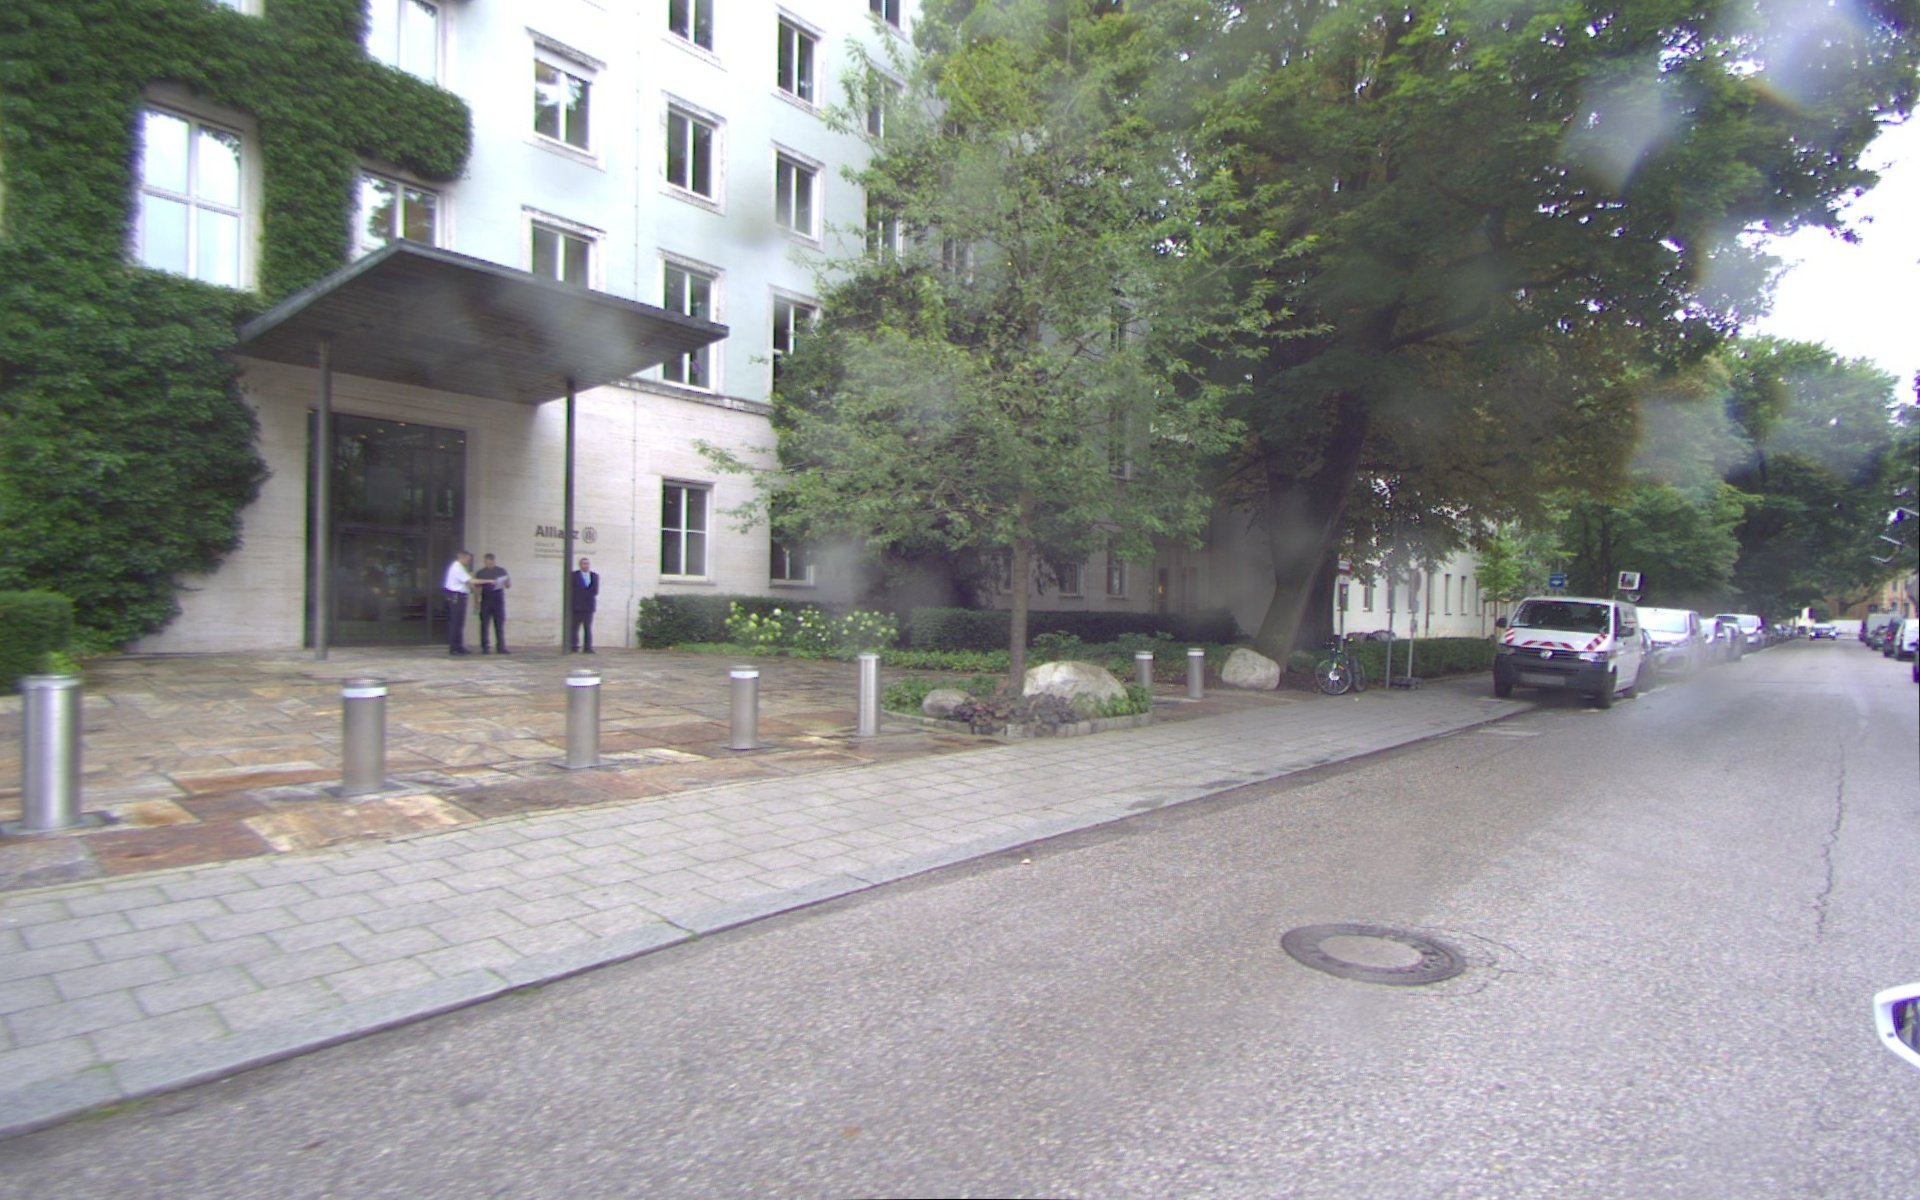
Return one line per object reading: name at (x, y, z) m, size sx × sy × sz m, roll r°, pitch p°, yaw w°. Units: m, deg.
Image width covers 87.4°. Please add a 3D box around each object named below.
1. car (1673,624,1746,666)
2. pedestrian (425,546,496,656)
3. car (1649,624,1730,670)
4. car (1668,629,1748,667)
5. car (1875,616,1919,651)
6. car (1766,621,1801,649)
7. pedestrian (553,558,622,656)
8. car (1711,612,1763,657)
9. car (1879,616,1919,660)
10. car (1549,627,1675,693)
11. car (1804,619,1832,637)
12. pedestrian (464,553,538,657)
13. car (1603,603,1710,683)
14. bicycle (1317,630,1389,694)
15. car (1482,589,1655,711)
car at (30.300, 1.791, 40.591) m, size 1.939 × 1.548 × 4.020 m, roll 2°, pitch 0°, yaw 43°
pedestrian at (-8.375, 0.022, 16.846) m, size 0.887 × 1.776 × 0.749 m, roll 0°, pitch -1°, yaw 38°
car at (26.893, 1.682, 36.979) m, size 2.045 × 1.540 × 4.216 m, roll 2°, pitch 0°, yaw 40°
car at (30.246, 1.887, 40.549) m, size 2.095 × 1.347 × 4.113 m, roll 2°, pitch 0°, yaw 44°
car at (57.677, 2.036, 61.837) m, size 1.972 × 2.040 × 3.977 m, roll -1°, pitch -1°, yaw 43°
car at (67.637, 2.841, 82.557) m, size 2.022 × 2.183 × 4.296 m, roll 2°, pitch 0°, yaw 38°
pedestrian at (-6.935, 0.146, 18.713) m, size 0.740 × 1.776 × 0.898 m, roll 0°, pitch -2°, yaw 36°
car at (41.109, 1.811, 53.088) m, size 1.978 × 2.216 × 4.674 m, roll 2°, pitch 0°, yaw 40°
car at (44.939, 1.775, 47.623) m, size 1.972 × 2.001 × 3.977 m, roll -1°, pitch -1°, yaw 43°
car at (15.661, 1.360, 24.057) m, size 2.185 × 1.347 × 3.932 m, roll 2°, pitch 0°, yaw 38°
car at (85.067, 2.743, 99.537) m, size 1.972 × 1.806 × 3.977 m, roll -1°, pitch -1°, yaw 43°
pedestrian at (-8.052, 0.097, 17.637) m, size 0.740 × 1.776 × 0.898 m, roll 0°, pitch -2°, yaw 36°
car at (19.656, 1.151, 28.232) m, size 2.156 × 1.982 × 5.145 m, roll 2°, pitch 0°, yaw 38°
bicycle at (7.317, 1.124, 18.651) m, size 0.626 × 1.117 × 1.757 m, roll 2°, pitch 0°, yaw 42°
car at (11.931, 0.875, 19.500) m, size 2.219 × 1.982 × 5.431 m, roll 2°, pitch 0°, yaw 38°
